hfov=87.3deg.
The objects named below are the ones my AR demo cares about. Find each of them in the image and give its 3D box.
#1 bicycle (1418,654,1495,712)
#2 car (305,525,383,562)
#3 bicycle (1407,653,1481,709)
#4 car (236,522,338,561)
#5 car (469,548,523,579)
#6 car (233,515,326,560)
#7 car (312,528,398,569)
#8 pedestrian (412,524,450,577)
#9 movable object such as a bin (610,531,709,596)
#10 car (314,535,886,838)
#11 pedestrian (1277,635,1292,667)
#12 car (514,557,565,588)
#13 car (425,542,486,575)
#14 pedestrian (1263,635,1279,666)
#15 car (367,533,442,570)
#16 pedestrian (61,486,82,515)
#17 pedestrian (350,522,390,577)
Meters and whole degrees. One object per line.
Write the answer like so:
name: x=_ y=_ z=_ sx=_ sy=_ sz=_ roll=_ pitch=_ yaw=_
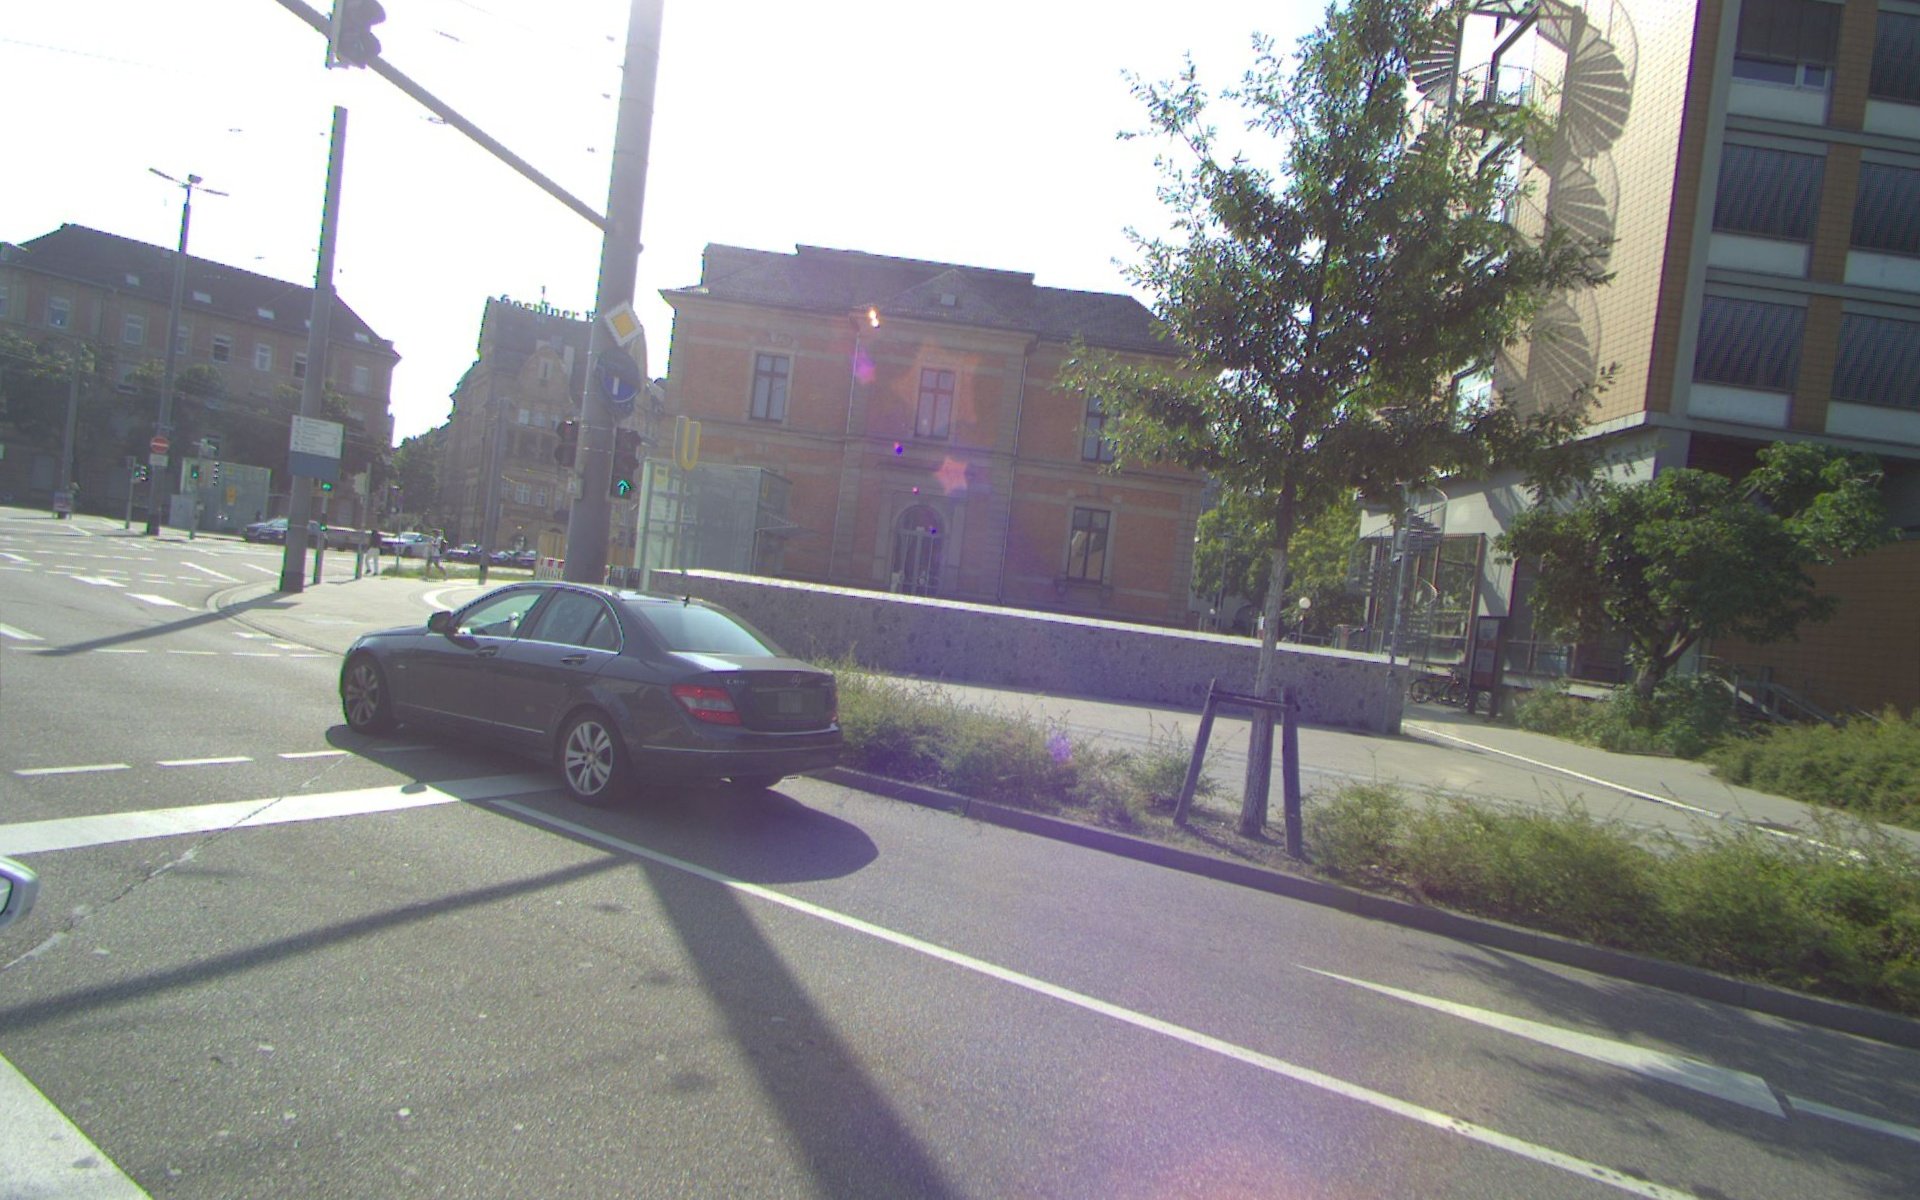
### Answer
bicycle: x=14.665 y=2.447 z=29.730 sx=1.803 sy=1.451 sz=0.608 roll=7 pitch=1 yaw=2
car: x=-40.526 y=-3.705 z=66.278 sx=1.895 sy=1.881 sz=4.276 roll=7 pitch=0 yaw=10
bicycle: x=14.748 y=2.468 z=30.661 sx=1.782 sy=1.451 sz=0.608 roll=7 pitch=1 yaw=2
car: x=-33.913 y=-2.910 z=50.868 sx=1.986 sy=1.414 sz=4.388 roll=7 pitch=-1 yaw=2
car: x=-35.227 y=-2.760 z=76.521 sx=1.874 sy=1.881 sz=4.251 roll=7 pitch=0 yaw=2
car: x=-36.610 y=-3.342 z=54.232 sx=1.874 sy=1.881 sz=4.251 roll=7 pitch=0 yaw=2
car: x=-35.781 y=-3.023 z=59.648 sx=1.874 sy=1.881 sz=4.711 roll=7 pitch=0 yaw=4
pedestrian: x=-18.225 y=-1.692 z=34.679 sx=0.910 sy=1.711 sz=0.920 roll=7 pitch=0 yaw=-21
movable object such as a bin: x=-13.758 y=-1.550 z=46.728 sx=2.409 sy=2.472 sz=7.973 roll=7 pitch=0 yaw=-3
car: x=-2.885 y=0.492 z=7.758 sx=4.298 sy=1.461 sz=1.684 roll=8 pitch=1 yaw=30
pedestrian: x=19.948 y=3.138 z=61.835 sx=0.624 sy=1.890 sz=0.674 roll=7 pitch=1 yaw=10
car: x=-31.572 y=-2.029 z=75.634 sx=1.875 sy=1.881 sz=4.069 roll=7 pitch=0 yaw=2
car: x=-35.511 y=-2.905 z=70.905 sx=1.874 sy=1.881 sz=4.251 roll=7 pitch=0 yaw=2
pedestrian: x=19.425 y=3.145 z=62.818 sx=0.624 sy=1.890 sz=0.674 roll=7 pitch=1 yaw=10
car: x=-35.612 y=-3.078 z=64.641 sx=2.007 sy=1.881 sz=4.665 roll=7 pitch=0 yaw=2
pedestrian: x=-49.354 y=-5.508 z=55.897 sx=0.538 sy=1.489 sz=0.666 roll=6 pitch=1 yaw=-15
pedestrian: x=-19.815 y=-1.697 z=33.790 sx=0.910 sy=1.711 sz=0.833 roll=7 pitch=1 yaw=-24
